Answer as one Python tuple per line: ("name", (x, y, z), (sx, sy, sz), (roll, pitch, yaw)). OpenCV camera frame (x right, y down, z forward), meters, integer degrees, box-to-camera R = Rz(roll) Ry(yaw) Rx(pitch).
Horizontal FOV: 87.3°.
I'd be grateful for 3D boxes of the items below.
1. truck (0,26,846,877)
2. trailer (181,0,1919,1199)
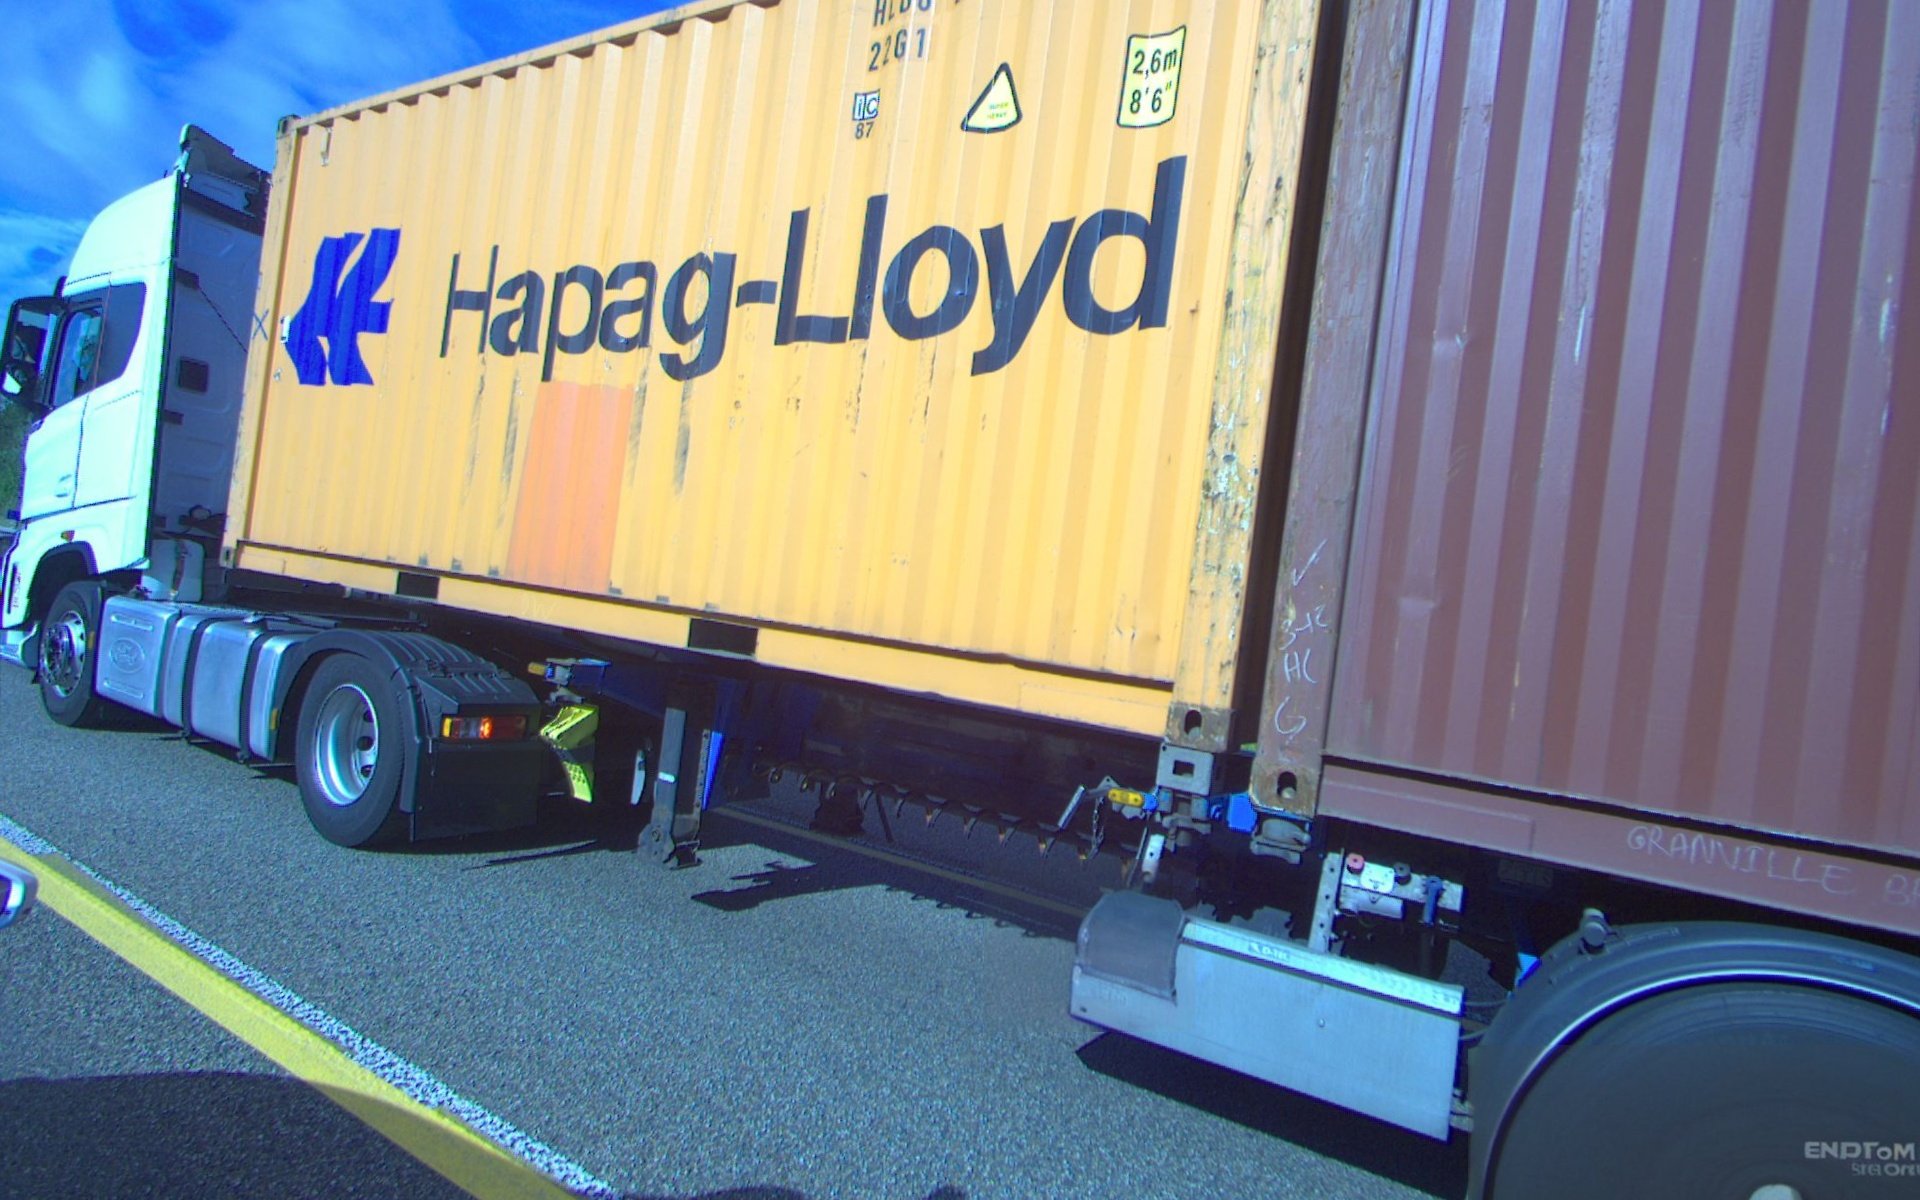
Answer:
("truck", (-4.026, -0.814, 7.040), (5.694, 3.825, 2.499), (6, -1, 31))
("trailer", (1.468, -0.180, 3.691), (11.933, 3.820, 2.475), (7, 0, 31))
